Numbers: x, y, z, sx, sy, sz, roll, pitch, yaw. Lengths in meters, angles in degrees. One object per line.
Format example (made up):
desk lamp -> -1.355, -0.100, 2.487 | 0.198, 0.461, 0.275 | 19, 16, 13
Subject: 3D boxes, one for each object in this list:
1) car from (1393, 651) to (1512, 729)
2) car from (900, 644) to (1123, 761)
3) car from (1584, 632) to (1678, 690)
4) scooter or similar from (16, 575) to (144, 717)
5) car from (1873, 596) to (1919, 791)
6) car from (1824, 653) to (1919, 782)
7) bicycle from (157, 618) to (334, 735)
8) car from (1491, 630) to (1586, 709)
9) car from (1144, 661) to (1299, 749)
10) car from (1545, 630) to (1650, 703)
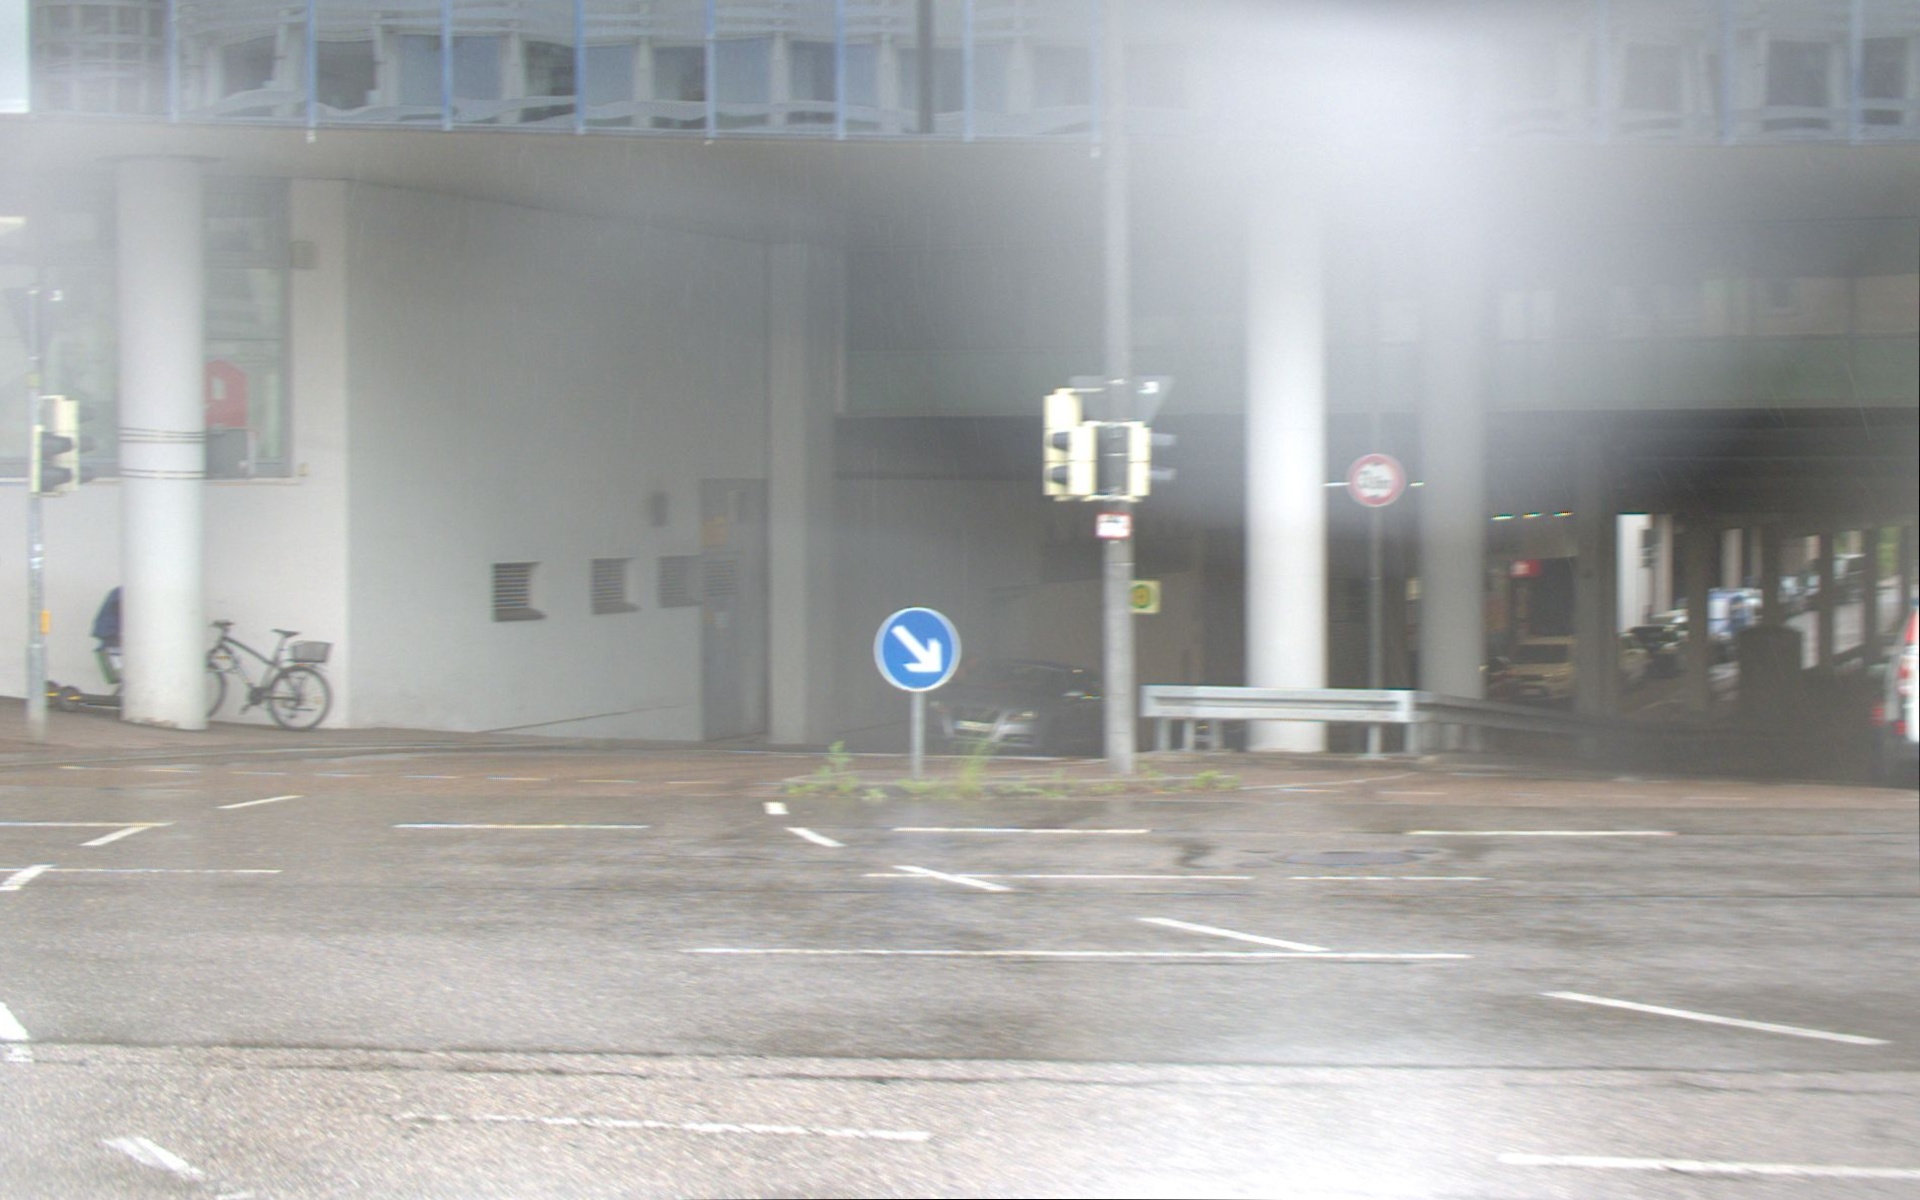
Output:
car -> 10.948, 1.964, 76.197 | 1.916, 1.582, 3.935 | 0, 0, 19
car -> 0.771, 1.456, 48.030 | 1.894, 1.465, 4.022 | 1, -3, 20
car -> 18.366, 1.652, 93.992 | 1.995, 1.459, 3.996 | 0, 1, 19
scooter or similar -> -8.752, 0.454, 34.226 | 1.166, 1.368, 0.489 | 2, 1, -11
car -> 9.915, 0.877, 33.434 | 1.927, 1.791, 4.293 | 0, 0, 14
car -> 11.564, 1.416, 41.008 | 1.760, 1.459, 3.937 | 0, -2, 24
bicycle -> -7.189, 0.775, 34.597 | 1.581, 1.014, 0.452 | 6, -1, -27
car -> 13.604, 1.607, 80.756 | 1.837, 1.722, 3.997 | 1, 1, 15
car -> 4.571, 1.804, 59.694 | 1.772, 1.459, 3.872 | 0, -1, 19
car -> 16.133, 1.656, 86.932 | 1.995, 1.658, 3.996 | 2, 1, 19
